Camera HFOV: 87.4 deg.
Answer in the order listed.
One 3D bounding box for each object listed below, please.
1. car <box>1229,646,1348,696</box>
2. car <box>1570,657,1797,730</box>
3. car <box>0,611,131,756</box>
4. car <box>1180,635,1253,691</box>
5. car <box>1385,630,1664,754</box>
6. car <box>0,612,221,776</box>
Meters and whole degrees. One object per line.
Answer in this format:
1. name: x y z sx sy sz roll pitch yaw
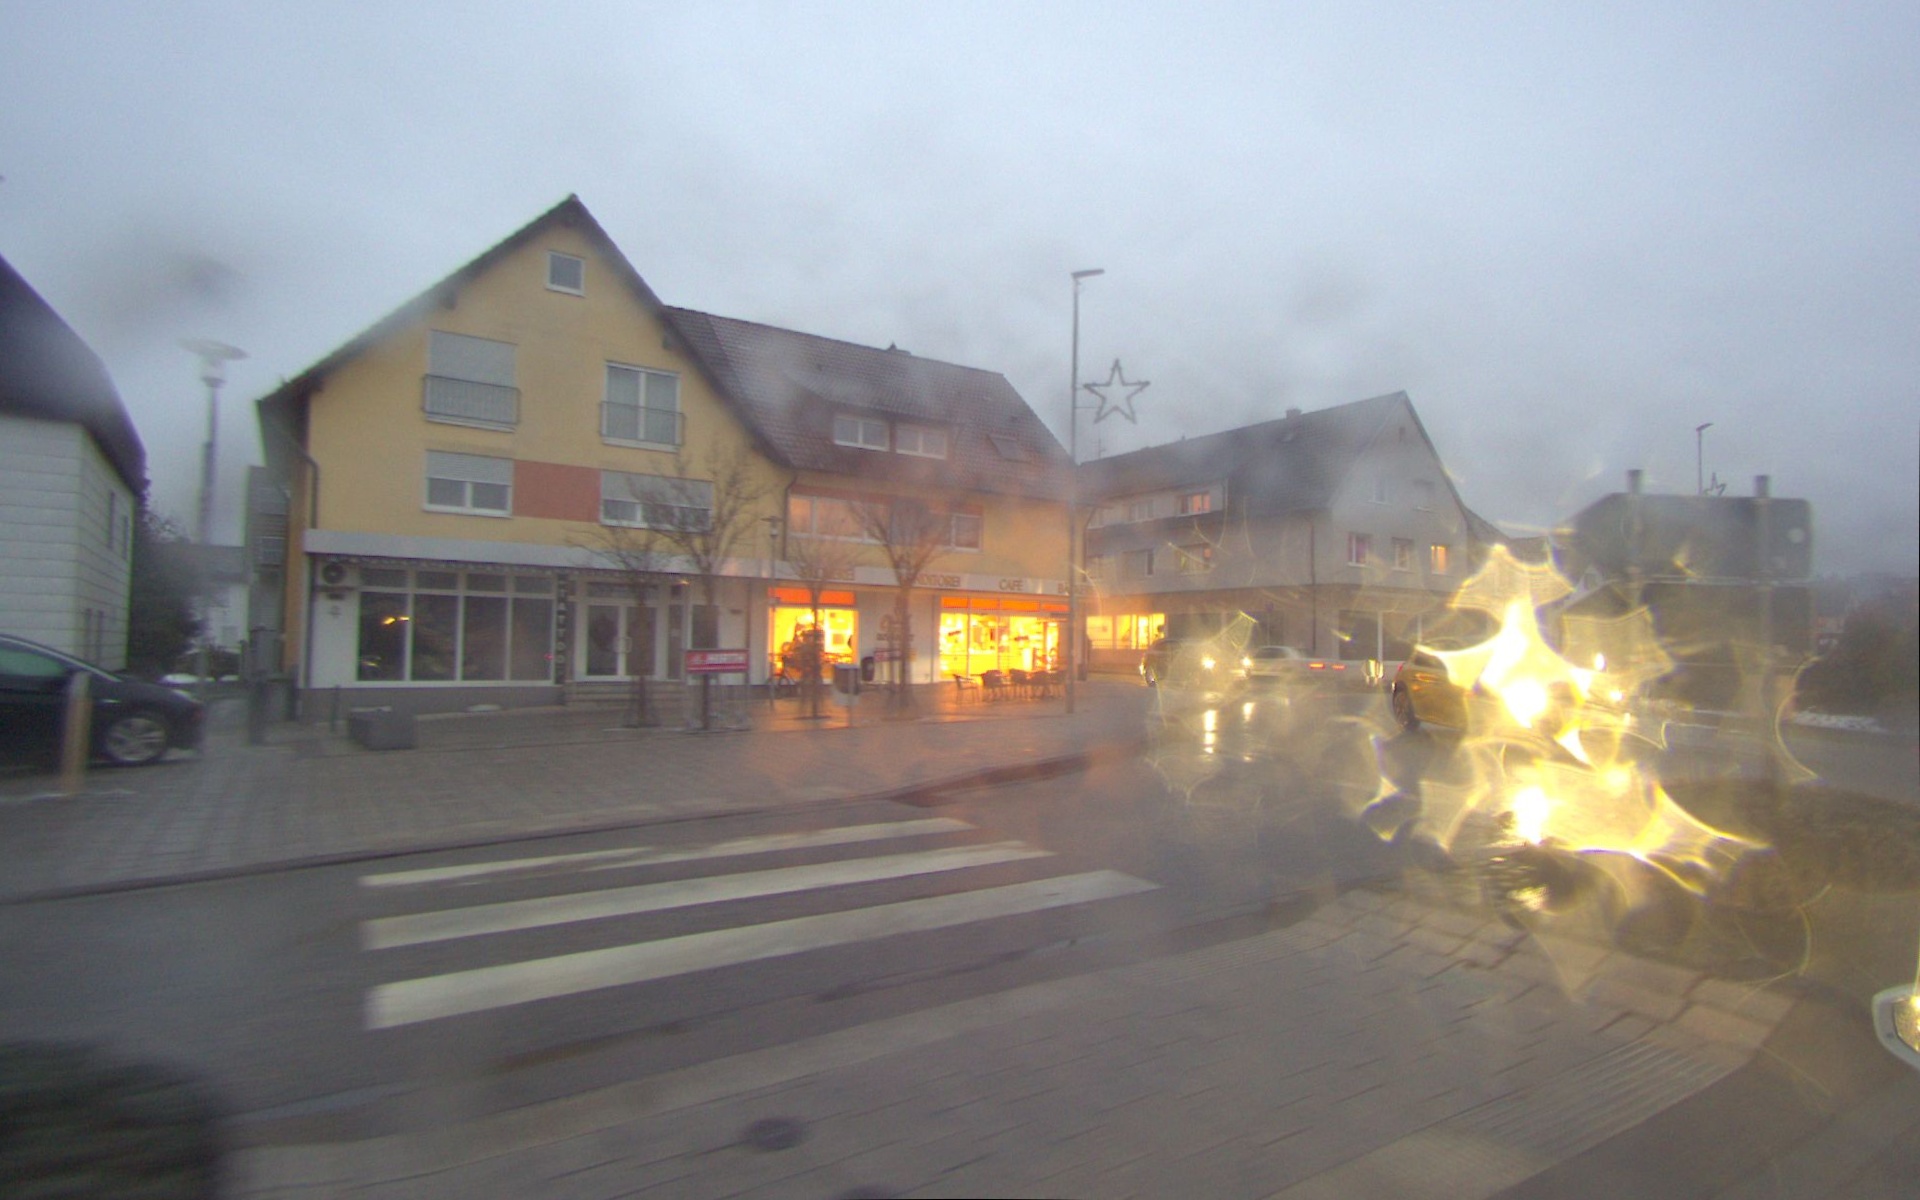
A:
1. car: 12.269 2.614 37.736 1.688 1.684 4.027 2 -2 -36
2. car: 18.776 2.354 26.269 1.880 1.632 4.458 2 -2 -34
3. car: -12.298 0.990 11.530 1.805 1.691 3.896 -3 -4 23
4. car: 8.604 2.073 34.077 1.914 1.614 4.635 1 -1 8
5. car: 7.480 1.167 13.816 1.681 1.440 4.015 0 -2 2
6. car: -9.964 0.886 9.720 1.876 1.551 4.182 0 -3 19
